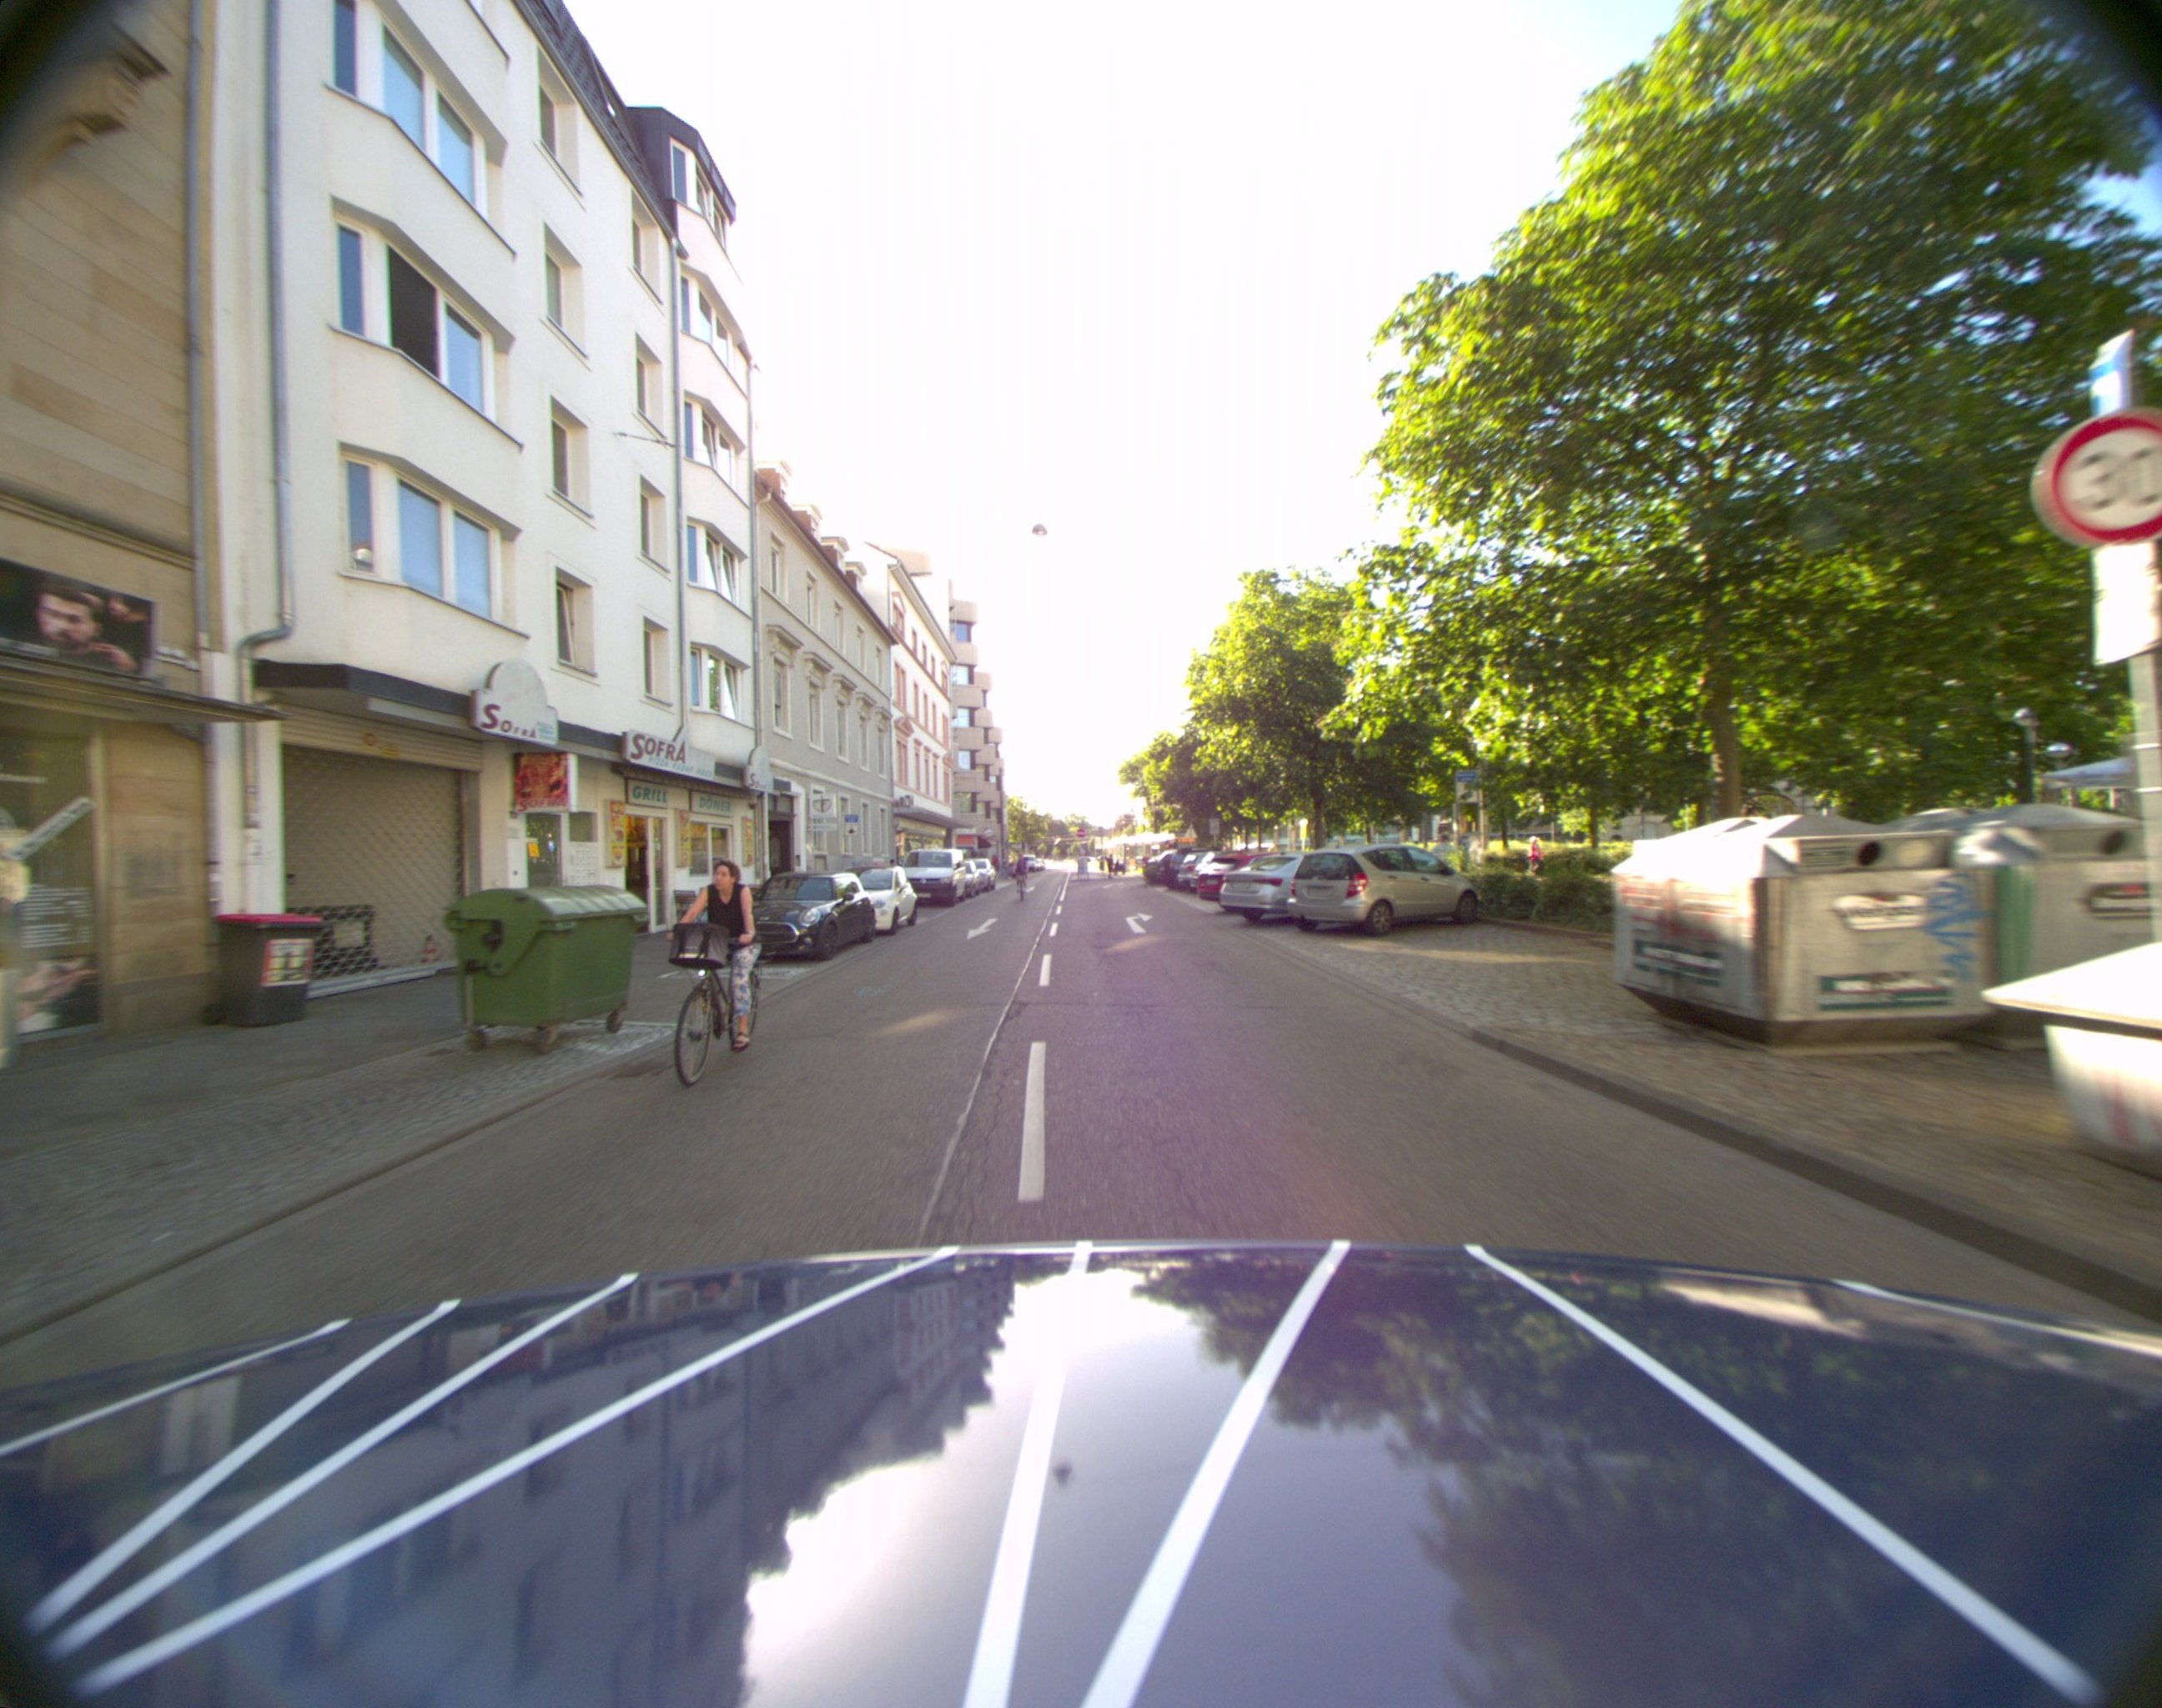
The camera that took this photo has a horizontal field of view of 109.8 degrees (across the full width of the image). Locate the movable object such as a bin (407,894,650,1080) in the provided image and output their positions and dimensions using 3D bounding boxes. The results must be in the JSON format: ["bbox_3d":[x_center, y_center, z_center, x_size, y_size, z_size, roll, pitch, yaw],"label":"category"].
[{"bbox_3d":[-4.980,1.137,6.994,1.147,1.413,1.411,2,1,3],"label":"movable object such as a bin"}]

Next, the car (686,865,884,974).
[{"bbox_3d":[-5.045,1.030,13.622,1.999,1.565,3.999,1,0,0],"label":"car"}]

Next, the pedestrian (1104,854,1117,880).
[{"bbox_3d":[1.852,0.810,48.105,0.691,1.578,0.615,-1,1,9],"label":"pedestrian"}]

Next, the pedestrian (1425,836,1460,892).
[{"bbox_3d":[8.243,0.213,17.316,0.521,1.250,0.525,-1,1,-34],"label":"pedestrian"}]

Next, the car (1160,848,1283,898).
[{"bbox_3d":[5.248,0.661,28.505,4.003,1.635,2.099,-2,2,-20],"label":"car"}]

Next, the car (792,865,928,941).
[{"bbox_3d":[-4.988,1.037,17.758,1.999,1.482,3.999,1,0,0],"label":"car"}]

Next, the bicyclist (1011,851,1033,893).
[{"bbox_3d":[-2.221,0.679,28.755,0.718,1.553,0.864,-2,1,0],"label":"bicyclist"}]

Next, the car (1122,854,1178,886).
[{"bbox_3d":[3.457,0.759,37.504,1.771,1.421,4.005,-2,0,19],"label":"car"}]

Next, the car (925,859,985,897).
[{"bbox_3d":[-5.274,0.968,32.237,1.999,1.444,3.868,1,0,-2],"label":"car"}]

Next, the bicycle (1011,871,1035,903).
[{"bbox_3d":[-2.199,1.229,29.087,0.718,1.105,2.269,-2,0,0],"label":"bicycle"}]

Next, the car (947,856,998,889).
[{"bbox_3d":[-5.220,0.860,37.088,1.999,1.444,3.954,1,0,-2],"label":"car"}]

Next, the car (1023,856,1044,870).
[{"bbox_3d":[-5.391,0.966,87.165,1.998,1.494,4.000,-2,0,2],"label":"car"}]

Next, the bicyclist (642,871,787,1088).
[{"bbox_3d":[-2.887,0.941,6.075,0.658,1.562,0.909,-2,1,0],"label":"bicyclist"}]

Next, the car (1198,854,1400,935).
[{"bbox_3d":[4.757,0.795,16.470,4.006,1.433,1.995,-2,0,-32],"label":"car"}]

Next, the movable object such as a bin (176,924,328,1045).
[{"bbox_3d":[-7.985,1.230,7.342,0.725,1.042,0.664,2,-1,9],"label":"movable object such as a bin"}]

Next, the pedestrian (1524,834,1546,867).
[{"bbox_3d":[17.239,-0.136,28.852,0.527,1.250,0.519,-1,1,-19],"label":"pedestrian"}]

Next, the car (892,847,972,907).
[{"bbox_3d":[-5.185,0.734,27.114,1.999,1.942,5.099,1,0,-2],"label":"car"}]

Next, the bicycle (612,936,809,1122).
[{"bbox_3d":[-2.888,1.304,6.161,0.666,1.061,1.836,-2,0,0],"label":"bicycle"}]

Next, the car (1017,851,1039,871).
[{"bbox_3d":[-5.536,0.723,80.249,1.999,2.002,3.999,-2,0,0],"label":"car"}]

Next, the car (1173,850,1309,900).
[{"bbox_3d":[5.400,0.678,25.822,4.001,1.465,1.998,-2,0,-13],"label":"car"}]

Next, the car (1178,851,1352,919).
[{"bbox_3d":[4.755,0.739,19.617,4.005,1.465,1.996,-2,0,-27],"label":"car"}]

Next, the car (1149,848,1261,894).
[{"bbox_3d":[5.067,0.652,31.183,4.003,1.684,1.997,-2,0,-20],"label":"car"}]

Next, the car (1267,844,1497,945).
[{"bbox_3d":[5.685,0.658,14.262,4.006,1.553,1.995,-2,0,-32],"label":"car"}]
